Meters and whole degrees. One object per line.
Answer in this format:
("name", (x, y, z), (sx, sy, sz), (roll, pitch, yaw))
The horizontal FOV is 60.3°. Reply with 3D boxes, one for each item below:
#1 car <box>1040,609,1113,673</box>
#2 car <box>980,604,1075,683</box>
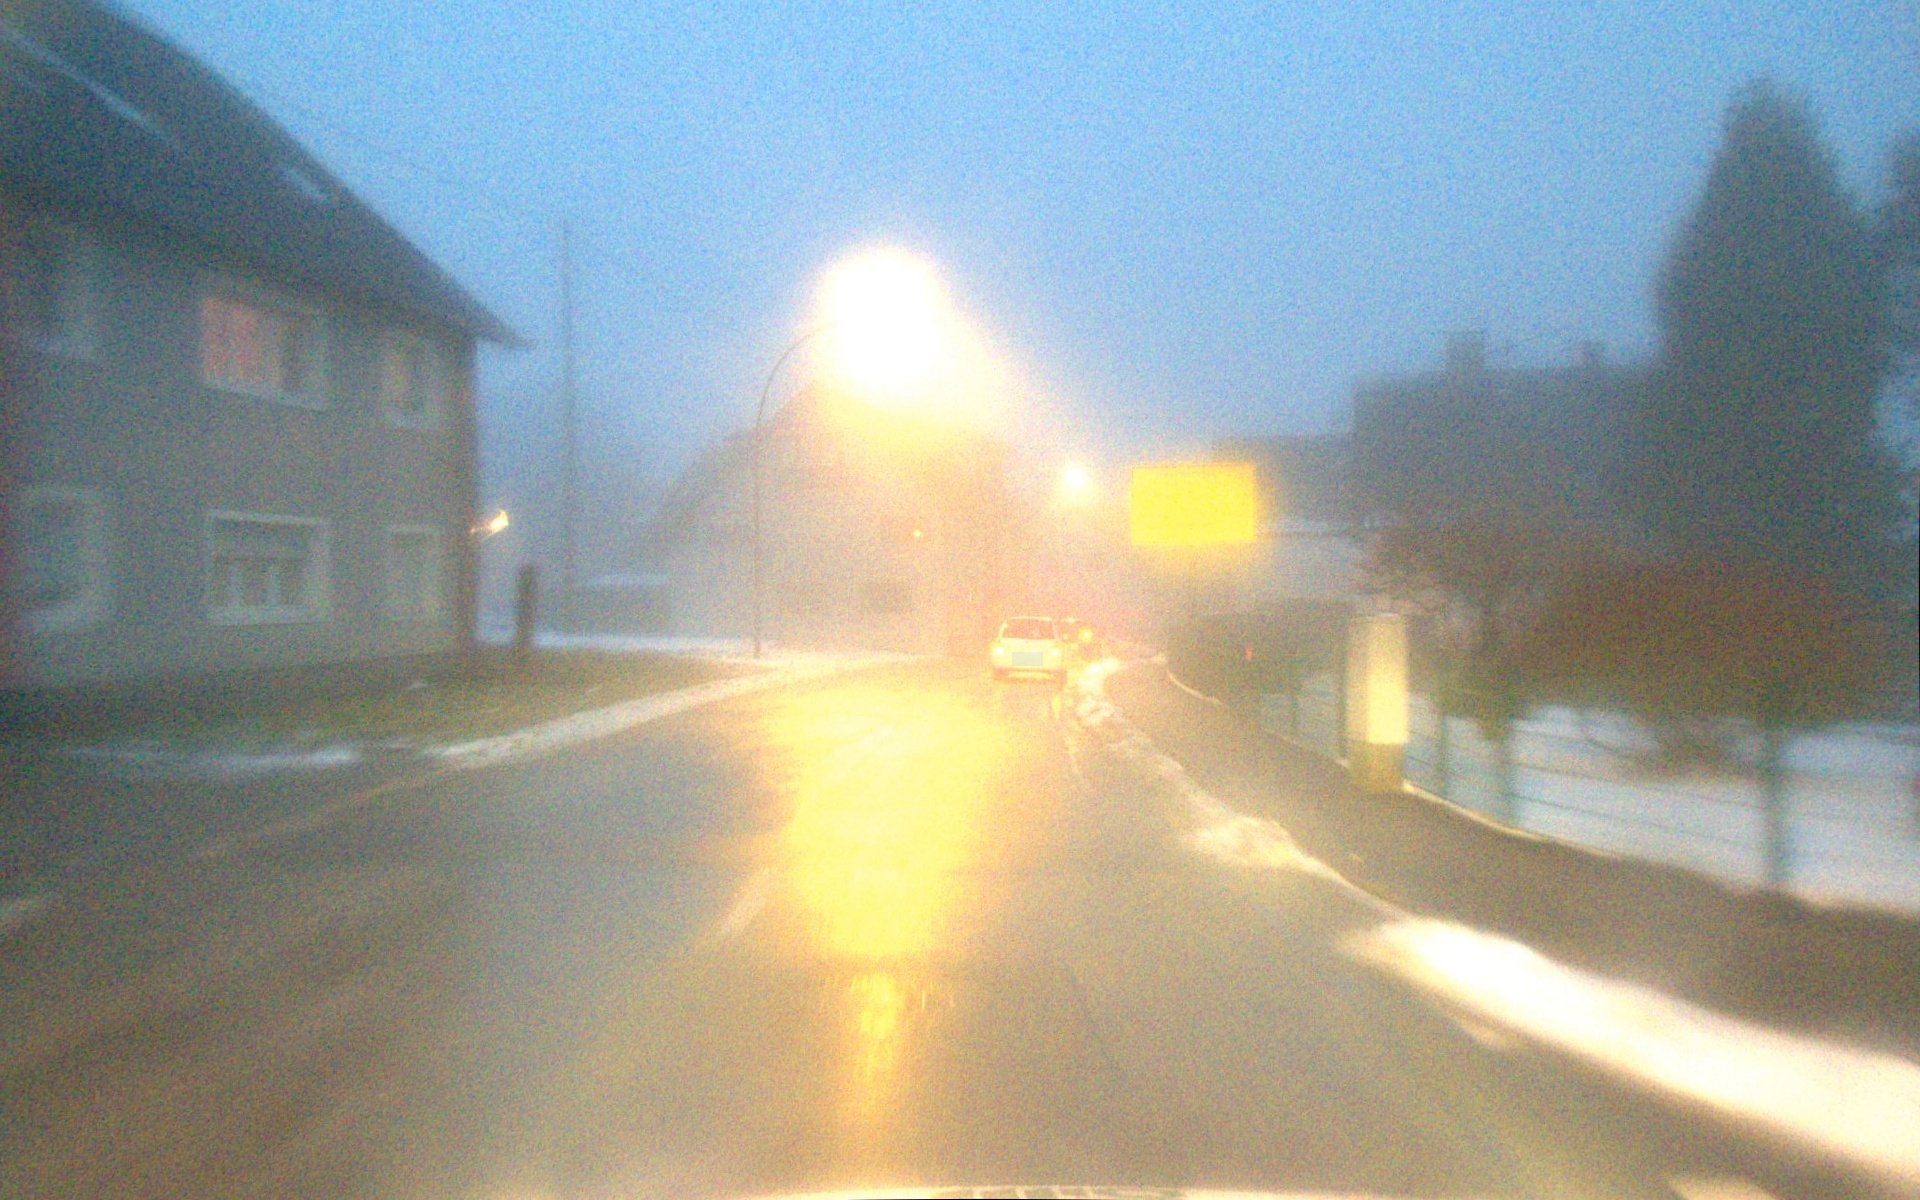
("car", (3.879, 1.319, 54.601), (1.951, 1.869, 4.004), (-2, 1, 10))
("car", (1.600, 0.947, 37.755), (1.951, 1.534, 4.003), (-2, 1, 5))
